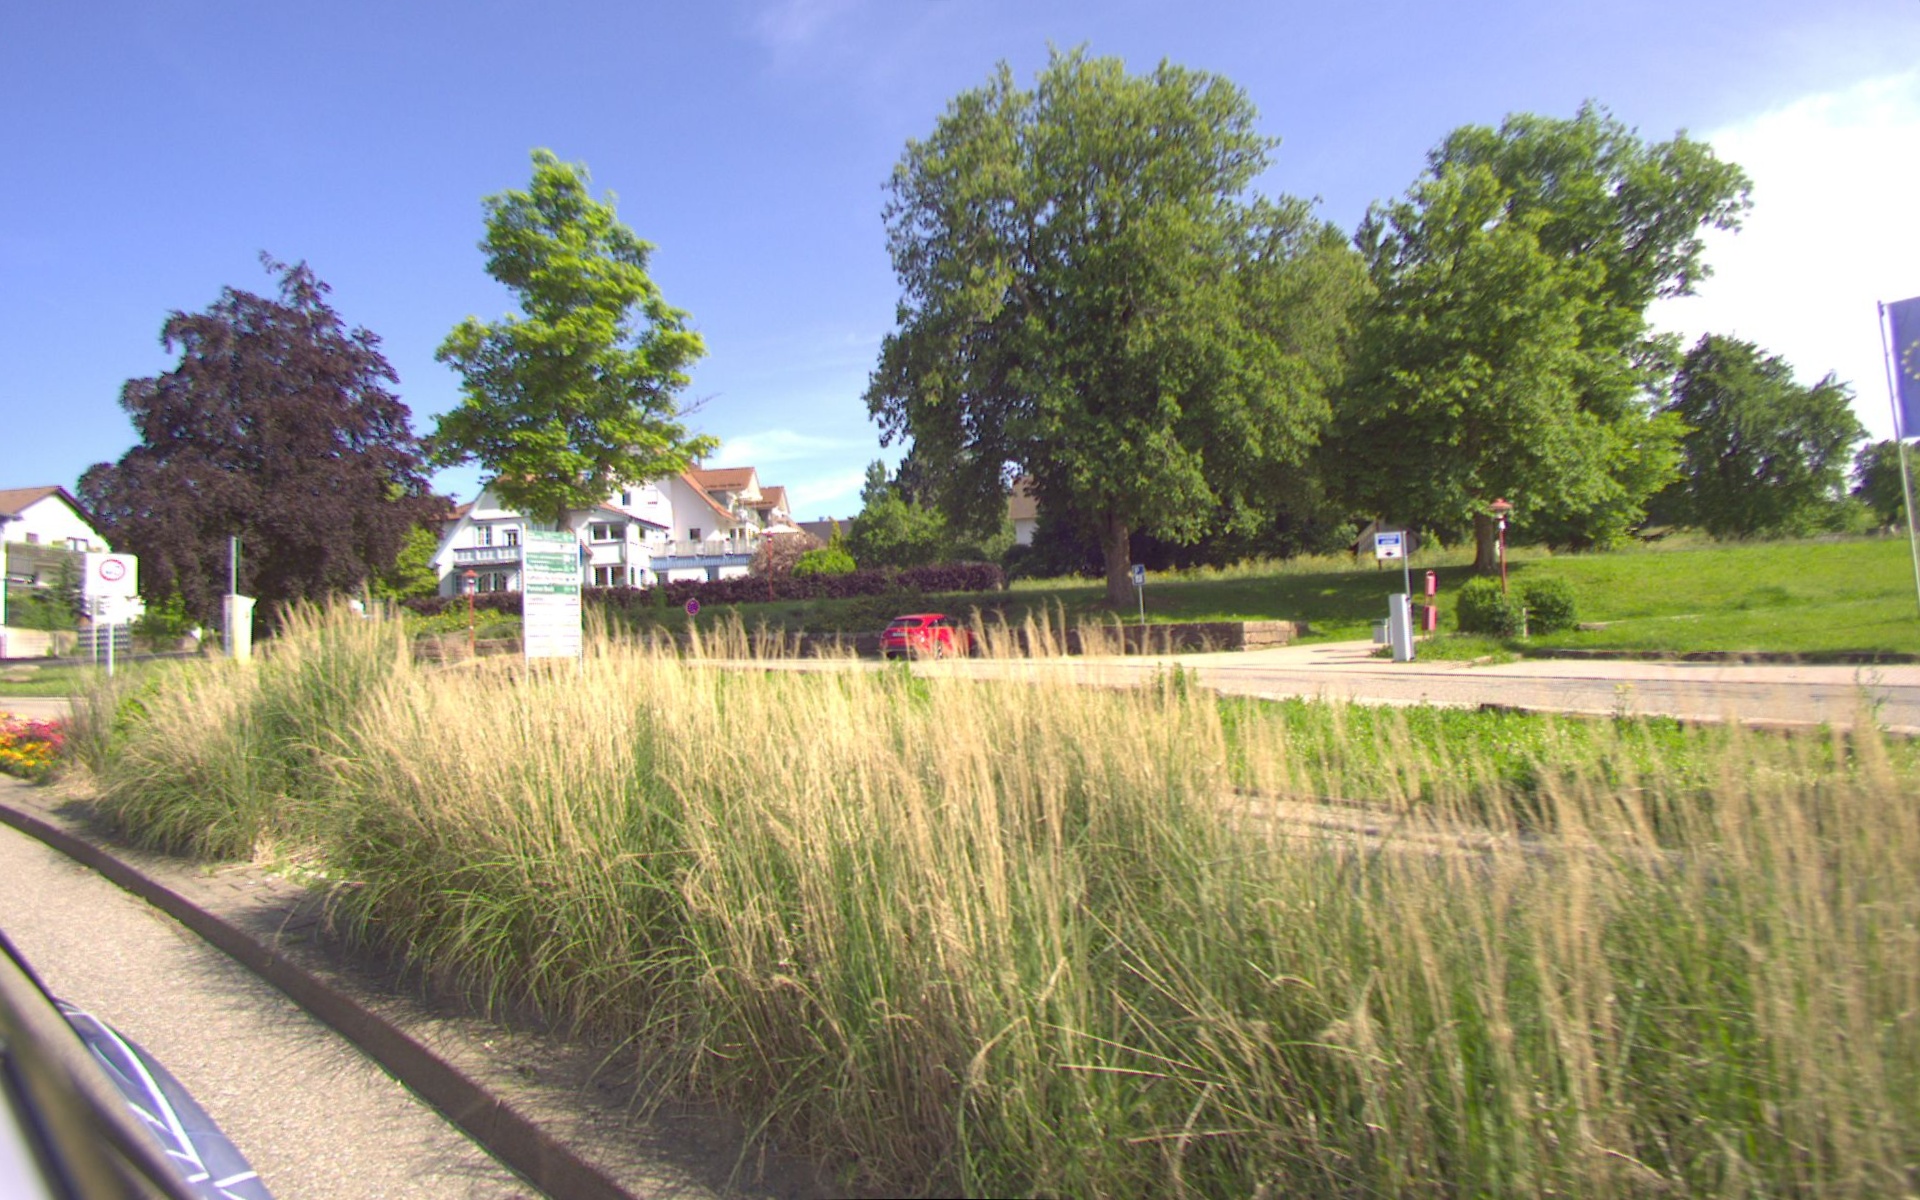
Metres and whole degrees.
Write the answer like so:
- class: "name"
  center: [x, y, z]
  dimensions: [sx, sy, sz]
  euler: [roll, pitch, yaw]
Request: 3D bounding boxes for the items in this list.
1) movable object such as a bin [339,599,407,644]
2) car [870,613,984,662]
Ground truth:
- class: "movable object such as a bin"
  center: [-38.358, 1.371, 66.278]
  dimensions: [1.969, 2.790, 5.113]
  euler: [-2, 0, -7]
- class: "car"
  center: [-0.969, 1.177, 32.529]
  dimensions: [1.815, 1.409, 4.198]
  euler: [-3, -1, 28]
